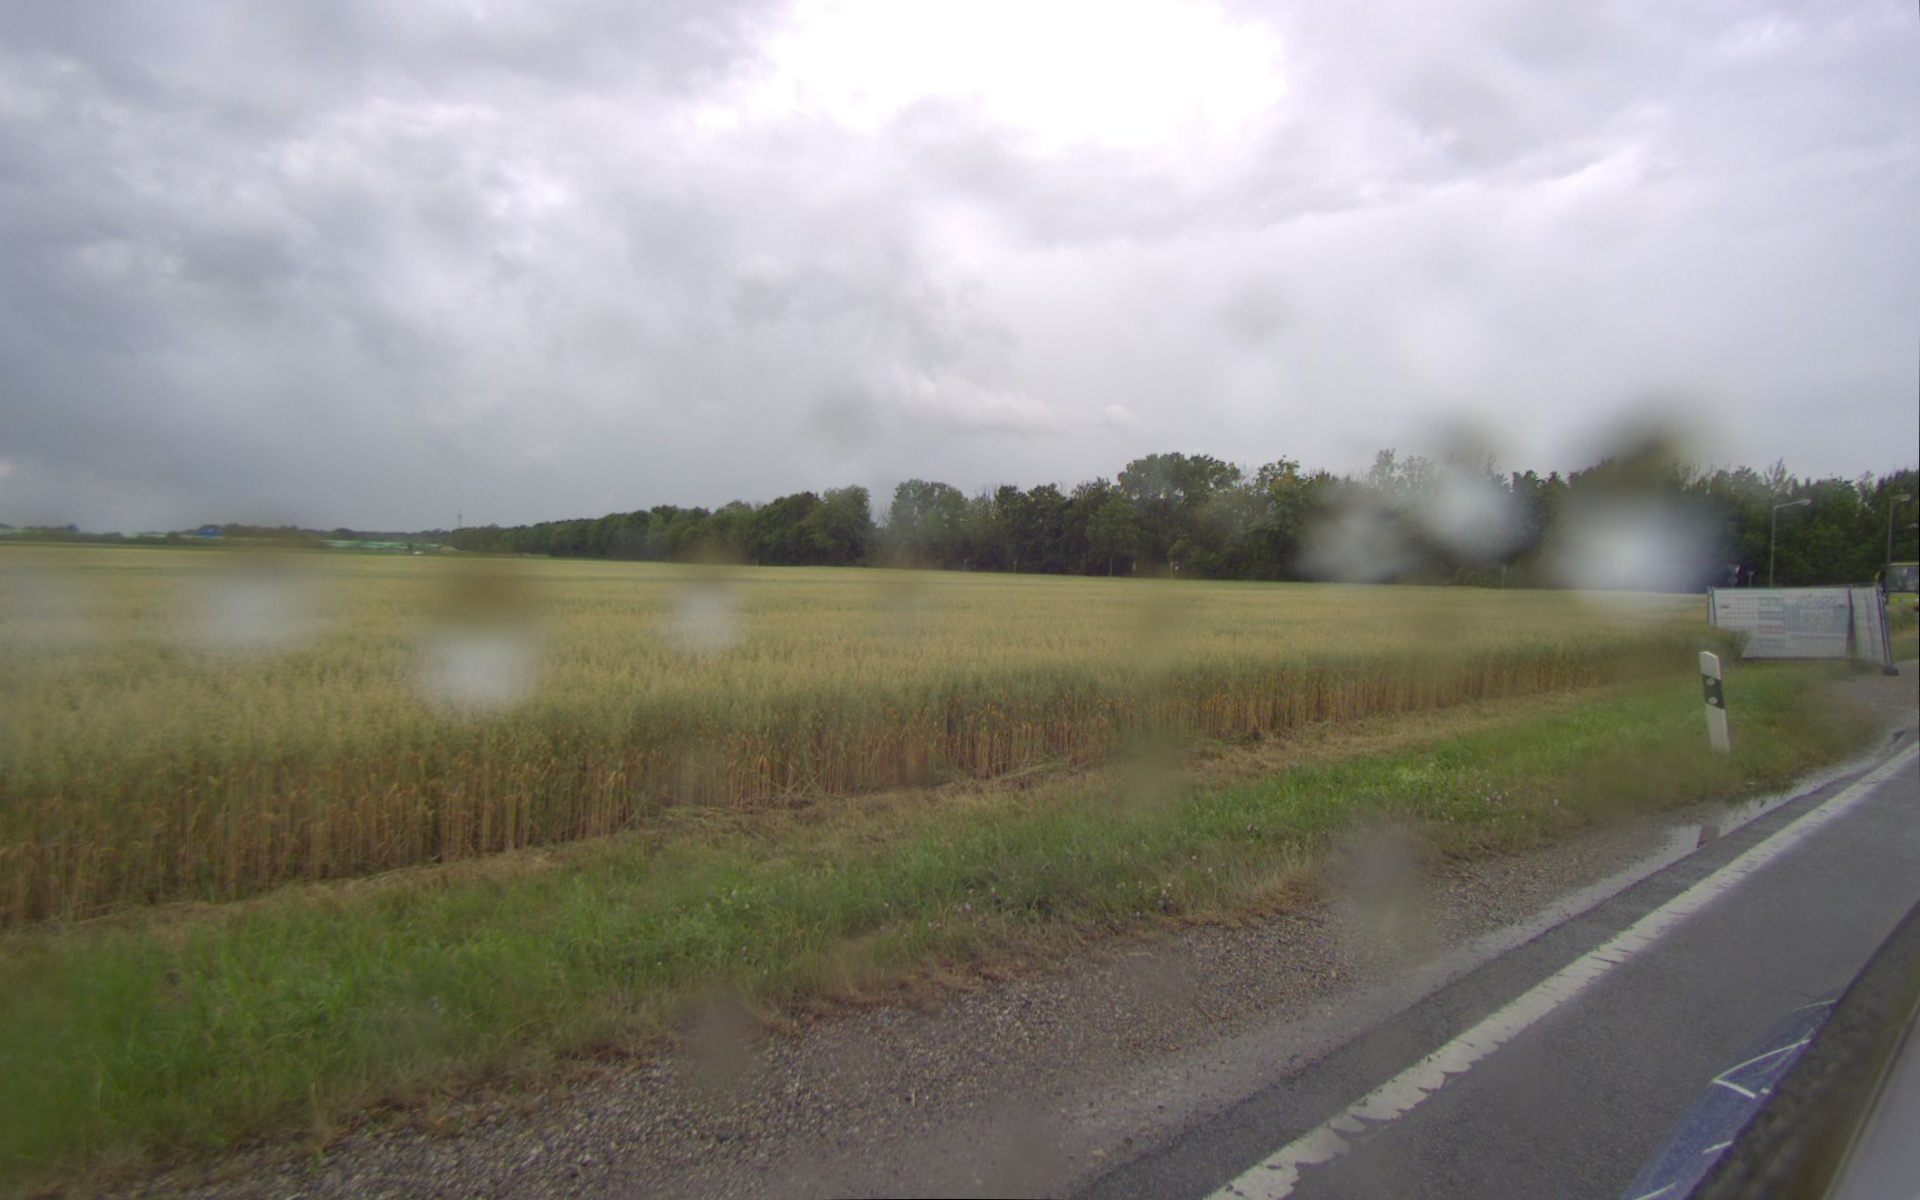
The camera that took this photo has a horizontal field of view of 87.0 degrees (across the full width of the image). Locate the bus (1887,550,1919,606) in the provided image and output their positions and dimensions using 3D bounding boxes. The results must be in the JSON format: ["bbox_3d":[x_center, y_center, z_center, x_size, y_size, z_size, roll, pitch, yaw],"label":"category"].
[{"bbox_3d":[70.581,-1.328,69.307,13.994,3.731,3.005,1,2,-14],"label":"bus"}]
